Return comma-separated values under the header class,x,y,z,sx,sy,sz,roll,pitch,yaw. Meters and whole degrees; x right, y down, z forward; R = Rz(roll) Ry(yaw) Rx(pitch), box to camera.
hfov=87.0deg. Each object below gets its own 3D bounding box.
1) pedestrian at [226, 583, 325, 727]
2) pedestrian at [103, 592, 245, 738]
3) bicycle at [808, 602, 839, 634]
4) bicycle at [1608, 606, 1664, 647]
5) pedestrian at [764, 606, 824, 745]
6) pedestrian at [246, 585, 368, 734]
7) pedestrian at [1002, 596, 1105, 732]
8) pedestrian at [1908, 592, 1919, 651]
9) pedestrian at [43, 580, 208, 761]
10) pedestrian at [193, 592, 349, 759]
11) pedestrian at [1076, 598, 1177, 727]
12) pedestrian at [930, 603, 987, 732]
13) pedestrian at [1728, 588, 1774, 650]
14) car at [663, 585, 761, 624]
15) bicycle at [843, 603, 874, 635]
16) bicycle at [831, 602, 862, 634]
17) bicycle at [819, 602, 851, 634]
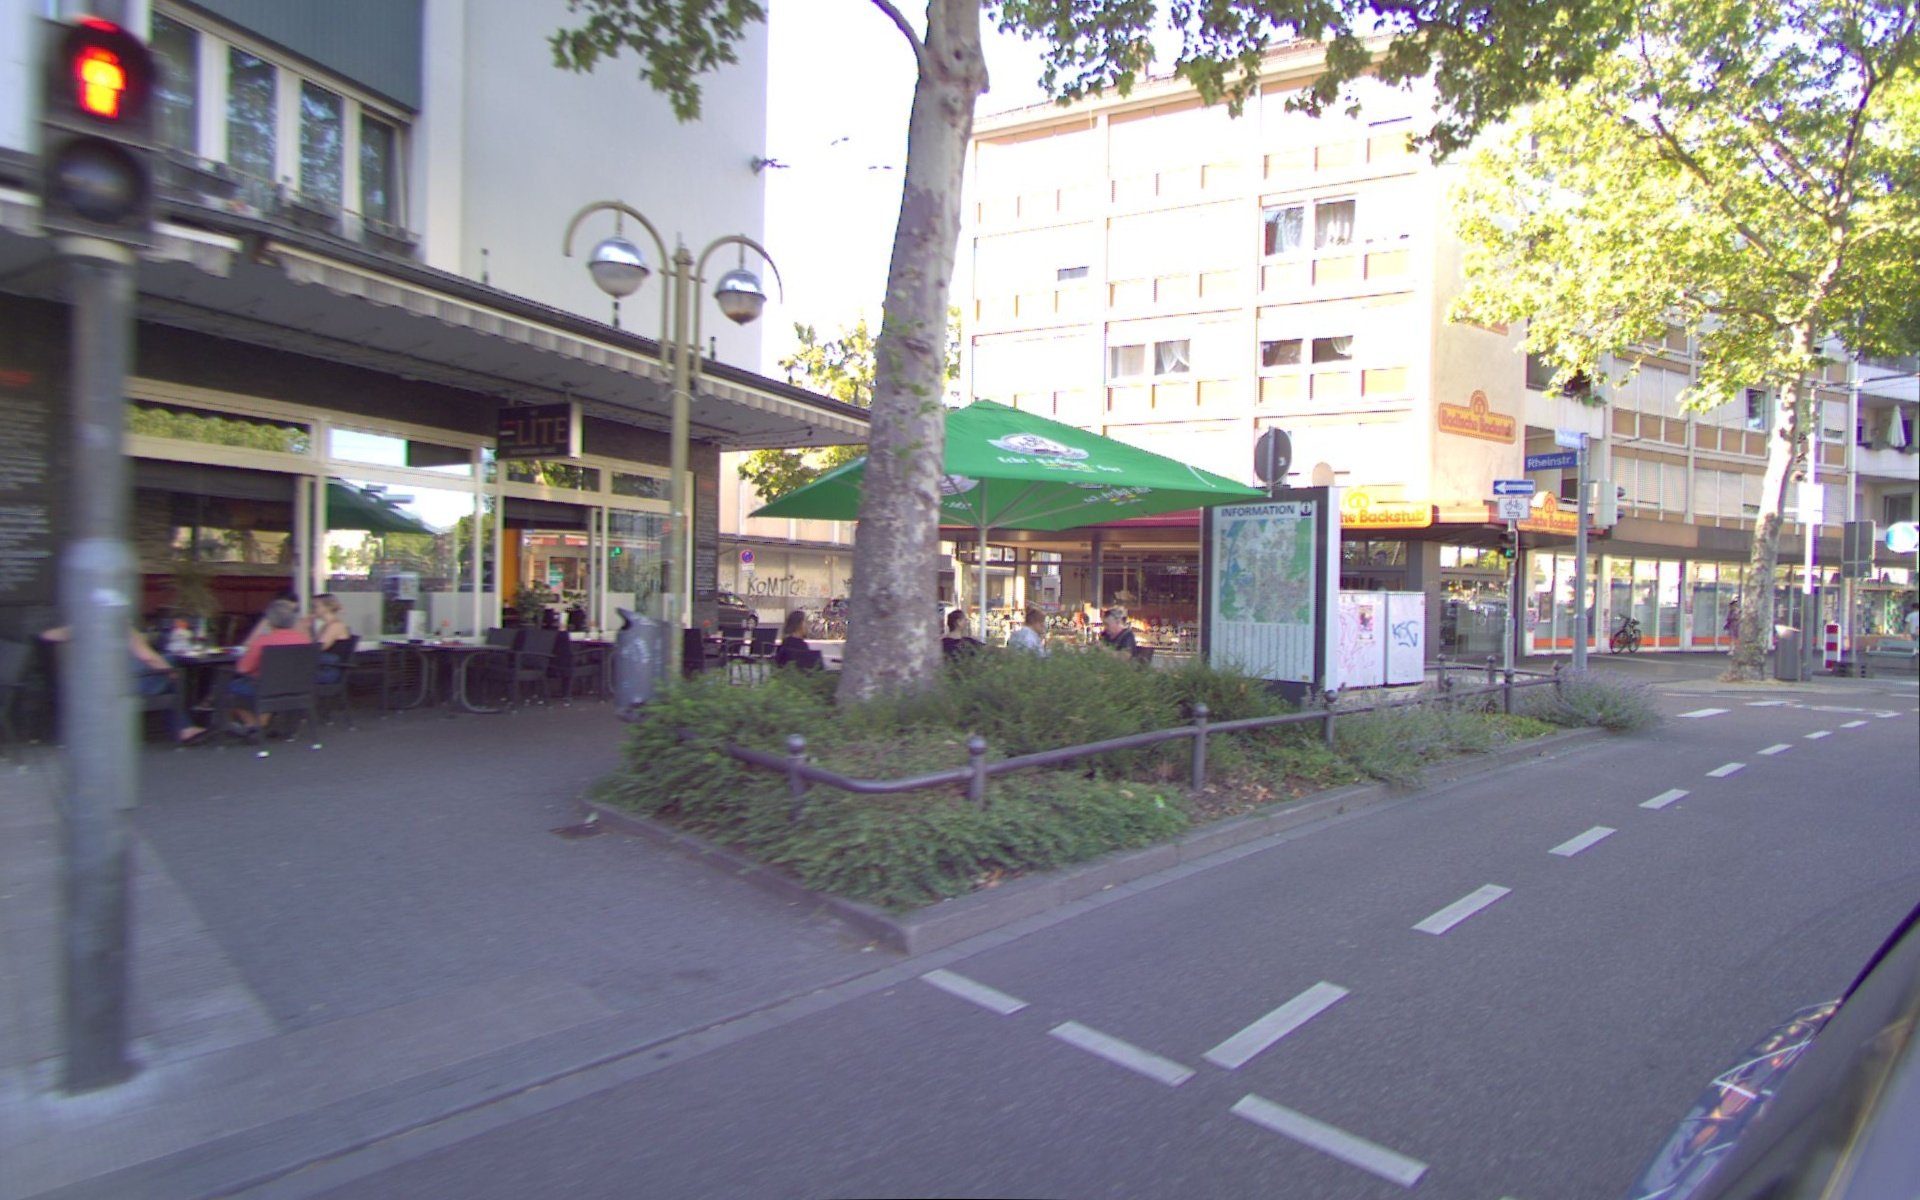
class,x,y,z,sx,sy,sz,roll,pitch,yaw
pedestrian,-6.246,0.486,9.257,0.541,1.259,0.521,3,0,-11
pedestrian,-6.669,0.523,8.603,0.709,1.144,0.646,3,0,21
bicycle,-4.574,0.586,33.958,0.384,1.013,1.418,1,1,22
bicycle,19.421,0.755,29.079,1.934,1.157,0.530,1,0,-30
pedestrian,-1.516,0.678,9.297,0.459,1.235,0.432,1,-1,1
pedestrian,-5.799,0.505,8.993,0.663,1.233,0.707,3,0,39
pedestrian,0.946,0.620,10.303,0.753,1.302,0.720,1,0,-31
pedestrian,29.210,0.655,30.448,0.883,1.779,0.751,1,0,-28
pedestrian,-6.336,0.507,7.705,0.643,1.267,0.712,3,0,21
pedestrian,-5.475,0.567,8.055,0.837,1.213,0.645,3,0,23
pedestrian,1.766,0.637,10.763,0.753,1.302,0.720,1,0,-32
pedestrian,-0.011,0.662,10.185,0.426,1.234,0.466,3,1,16
pedestrian,23.215,0.561,29.716,0.883,1.779,0.751,1,0,-28
car,-10.125,0.177,41.602,1.723,1.505,3.959,1,0,29
bicycle,-3.349,0.605,33.442,0.384,1.013,1.418,1,1,22
bicycle,-3.752,0.586,33.618,0.384,1.013,1.418,1,1,22
bicycle,-4.166,0.593,33.776,0.384,1.013,1.418,1,1,22
